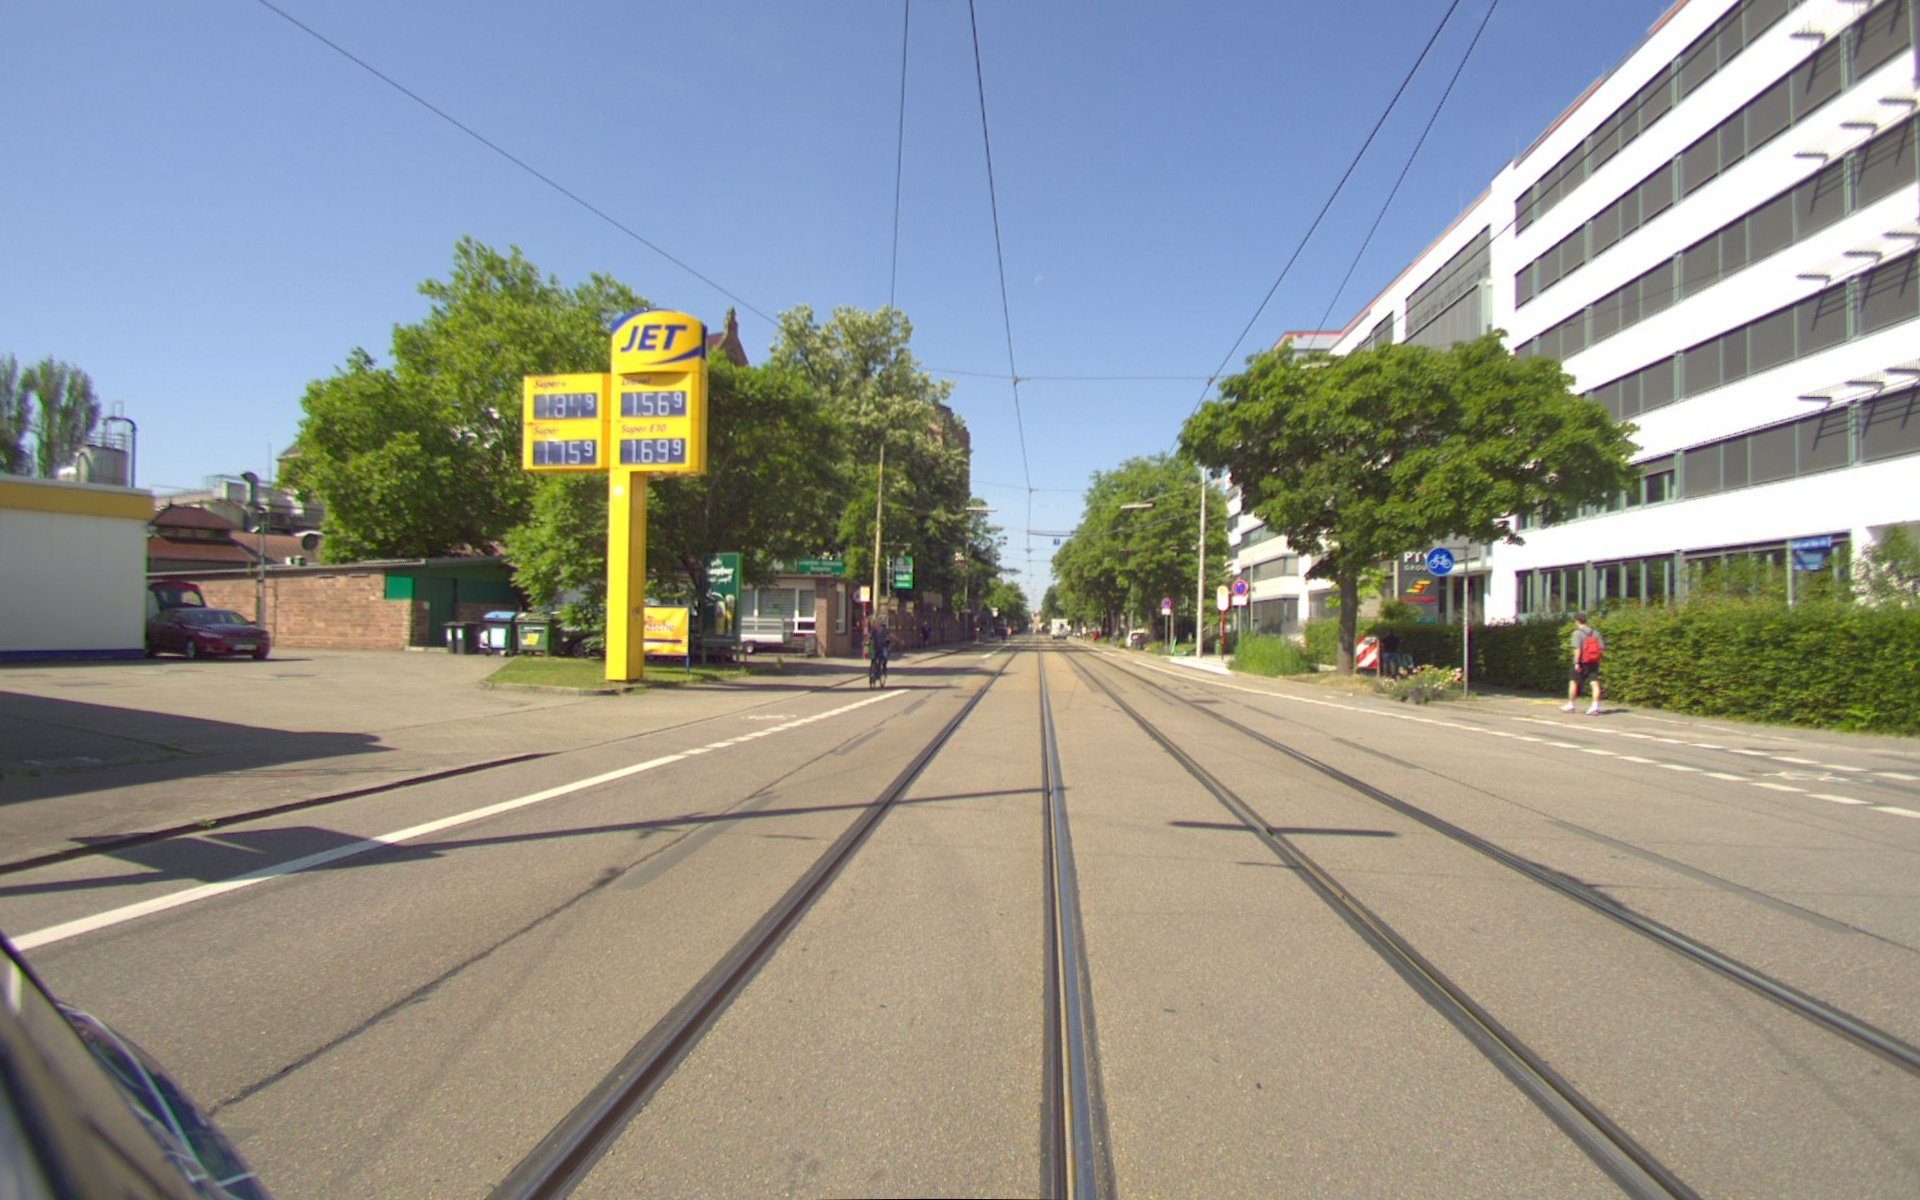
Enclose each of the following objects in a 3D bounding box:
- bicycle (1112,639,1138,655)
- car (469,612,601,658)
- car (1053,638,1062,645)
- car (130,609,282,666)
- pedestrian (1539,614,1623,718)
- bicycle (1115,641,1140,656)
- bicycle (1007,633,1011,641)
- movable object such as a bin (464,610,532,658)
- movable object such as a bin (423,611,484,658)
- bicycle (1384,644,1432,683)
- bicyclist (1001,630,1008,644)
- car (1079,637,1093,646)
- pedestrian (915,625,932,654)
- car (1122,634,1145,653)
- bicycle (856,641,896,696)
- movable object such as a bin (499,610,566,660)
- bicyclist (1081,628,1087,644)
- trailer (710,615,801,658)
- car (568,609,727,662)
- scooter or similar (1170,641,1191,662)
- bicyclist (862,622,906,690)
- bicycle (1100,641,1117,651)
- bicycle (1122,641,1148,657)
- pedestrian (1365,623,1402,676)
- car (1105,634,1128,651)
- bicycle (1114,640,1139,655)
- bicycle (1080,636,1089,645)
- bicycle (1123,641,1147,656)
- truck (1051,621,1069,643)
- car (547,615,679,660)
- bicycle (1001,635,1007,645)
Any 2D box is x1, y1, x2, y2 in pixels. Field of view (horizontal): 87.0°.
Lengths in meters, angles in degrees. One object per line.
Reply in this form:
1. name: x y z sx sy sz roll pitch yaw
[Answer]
1. bicycle: 12.871 3.675 78.960 1.886 1.178 0.818 0 -2 4
2. car: -15.164 1.264 36.185 3.938 1.569 1.850 3 -2 -42
3. car: 20.110 8.558 208.560 1.614 1.483 4.108 0 -2 4
4. car: -21.413 1.009 28.702 4.539 1.471 1.873 0 0 31
5. pedestrian: 11.378 1.187 18.580 0.880 1.832 1.073 1 -2 2
6. bicycle: 12.824 3.697 77.635 1.831 1.140 0.679 0 -2 4
7. bicycle: 7.920 5.929 162.941 0.656 1.163 2.011 1 -2 4
8. movable object such as a bin: -14.919 1.092 32.689 1.412 1.514 1.370 0 -2 21
9. movable object such as a bin: -16.734 1.133 33.457 1.326 1.514 1.316 -2 -2 33
10. bicycle: 13.642 1.916 30.887 0.629 1.126 2.065 1 -2 3
11. bicyclist: 5.065 4.202 114.743 0.733 1.542 0.946 1 -2 5
12. car: 17.918 5.872 143.531 1.613 1.365 3.898 1 -2 2
13. pedestrian: -2.342 2.560 65.044 0.967 1.830 1.183 0 -2 5
14. car: 14.175 3.511 82.815 1.615 1.483 3.624 1 -2 5
15. bicycle: -2.028 1.637 24.582 0.604 1.206 2.120 -1 -1 5
16. movable object such as a bin: -13.378 1.083 31.747 1.405 1.514 1.376 1 -2 8
17. bicyclist: 14.705 4.306 119.714 0.630 1.885 1.023 0 -2 4
18. trailer: -8.365 1.495 41.565 3.244 1.615 1.720 1 -2 6
19. car: -10.319 1.190 33.639 4.587 1.653 2.023 3 -2 -42
20. scooter or similar: 12.833 2.985 59.019 1.116 1.175 0.674 0 -2 7
21. bicyclist: -1.842 1.358 24.643 0.895 1.608 0.963 0 -2 5
22. bicycle: 15.247 4.725 103.902 1.708 1.094 0.478 0 -2 4
23. bicycle: 12.547 3.526 72.622 1.708 1.094 0.788 0 -2 4
24. pedestrian: 13.019 1.515 31.117 0.678 1.575 0.988 -1 -2 0
25. car: 14.670 4.002 95.113 1.613 1.494 4.270 1 -2 2
26. bicycle: 12.850 3.672 78.314 1.854 1.150 0.685 0 -2 4
27. bicycle: 14.695 4.793 119.744 0.847 1.118 2.137 2 -2 4
28. bicycle: 13.199 3.651 76.187 1.708 1.094 0.639 0 -2 4
29. truck: 14.371 4.637 146.156 2.379 3.132 6.029 1 -2 4
30. car: -12.124 1.337 35.477 3.938 1.485 1.850 3 -2 -42
31. bicycle: 5.002 4.476 114.509 0.586 1.114 2.051 1 -2 4
